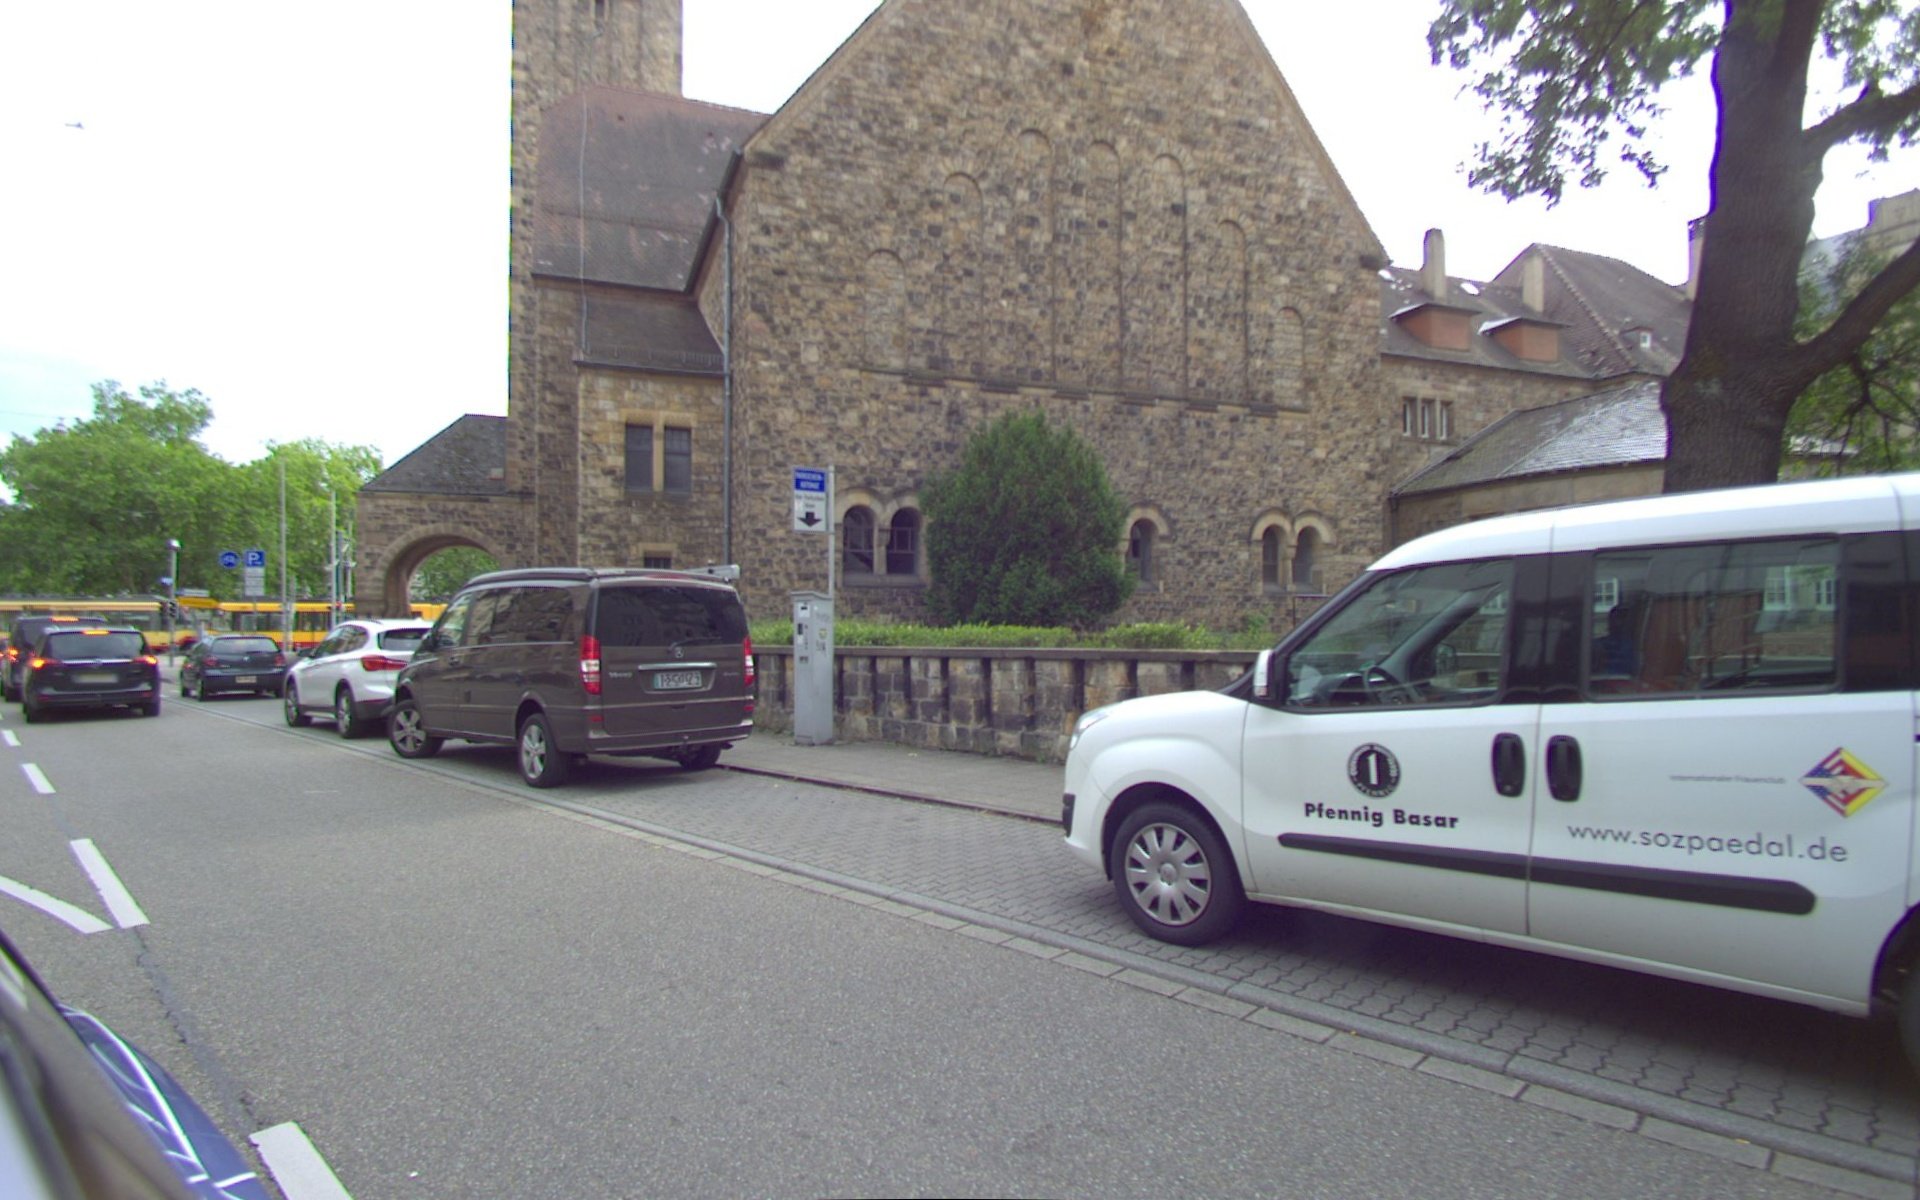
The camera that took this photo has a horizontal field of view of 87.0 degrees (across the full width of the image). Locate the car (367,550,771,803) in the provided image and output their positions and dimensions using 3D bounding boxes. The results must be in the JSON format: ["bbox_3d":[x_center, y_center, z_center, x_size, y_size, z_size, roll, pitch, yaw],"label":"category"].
[{"bbox_3d":[-4.334,0.697,10.665,5.184,2.029,1.991,-2,-2,44],"label":"car"}]

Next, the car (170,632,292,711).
[{"bbox_3d":[-16.641,1.546,23.037,3.773,1.520,1.628,-1,0,45],"label":"car"}]

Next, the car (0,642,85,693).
[{"bbox_3d":[-26.144,1.896,28.768,1.684,1.296,4.045,4,-4,-43],"label":"car"}]

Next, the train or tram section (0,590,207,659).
[{"bbox_3d":[-56.279,1.500,62.914,14.779,4.124,3.593,0,-1,-19],"label":"train or tram section"}]

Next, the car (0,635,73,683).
[{"bbox_3d":[-30.760,1.932,33.618,3.719,1.468,1.584,-1,-4,44],"label":"car"}]

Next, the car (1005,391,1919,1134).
[{"bbox_3d":[2.461,0.465,4.057,1.821,1.954,4.551,1,-2,-44],"label":"car"}]

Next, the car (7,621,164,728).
[{"bbox_3d":[-15.909,1.266,18.328,4.550,1.697,1.824,-3,-3,45],"label":"car"}]

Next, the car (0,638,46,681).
[{"bbox_3d":[-35.296,2.209,37.670,3.895,1.540,1.630,-3,-5,45],"label":"car"}]

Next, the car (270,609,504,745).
[{"bbox_3d":[-8.531,1.057,14.890,4.433,1.701,1.822,-3,-3,44],"label":"car"}]

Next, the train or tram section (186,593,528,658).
[{"bbox_3d":[-40.037,1.688,68.623,19.603,4.124,3.639,0,-1,-19],"label":"train or tram section"}]

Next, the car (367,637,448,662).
[{"bbox_3d":[-32.400,2.899,59.422,3.931,1.406,1.886,0,-2,-20],"label":"car"}]

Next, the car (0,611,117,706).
[{"bbox_3d":[-21.126,1.298,23.508,5.286,1.969,1.890,-3,-3,45],"label":"car"}]
